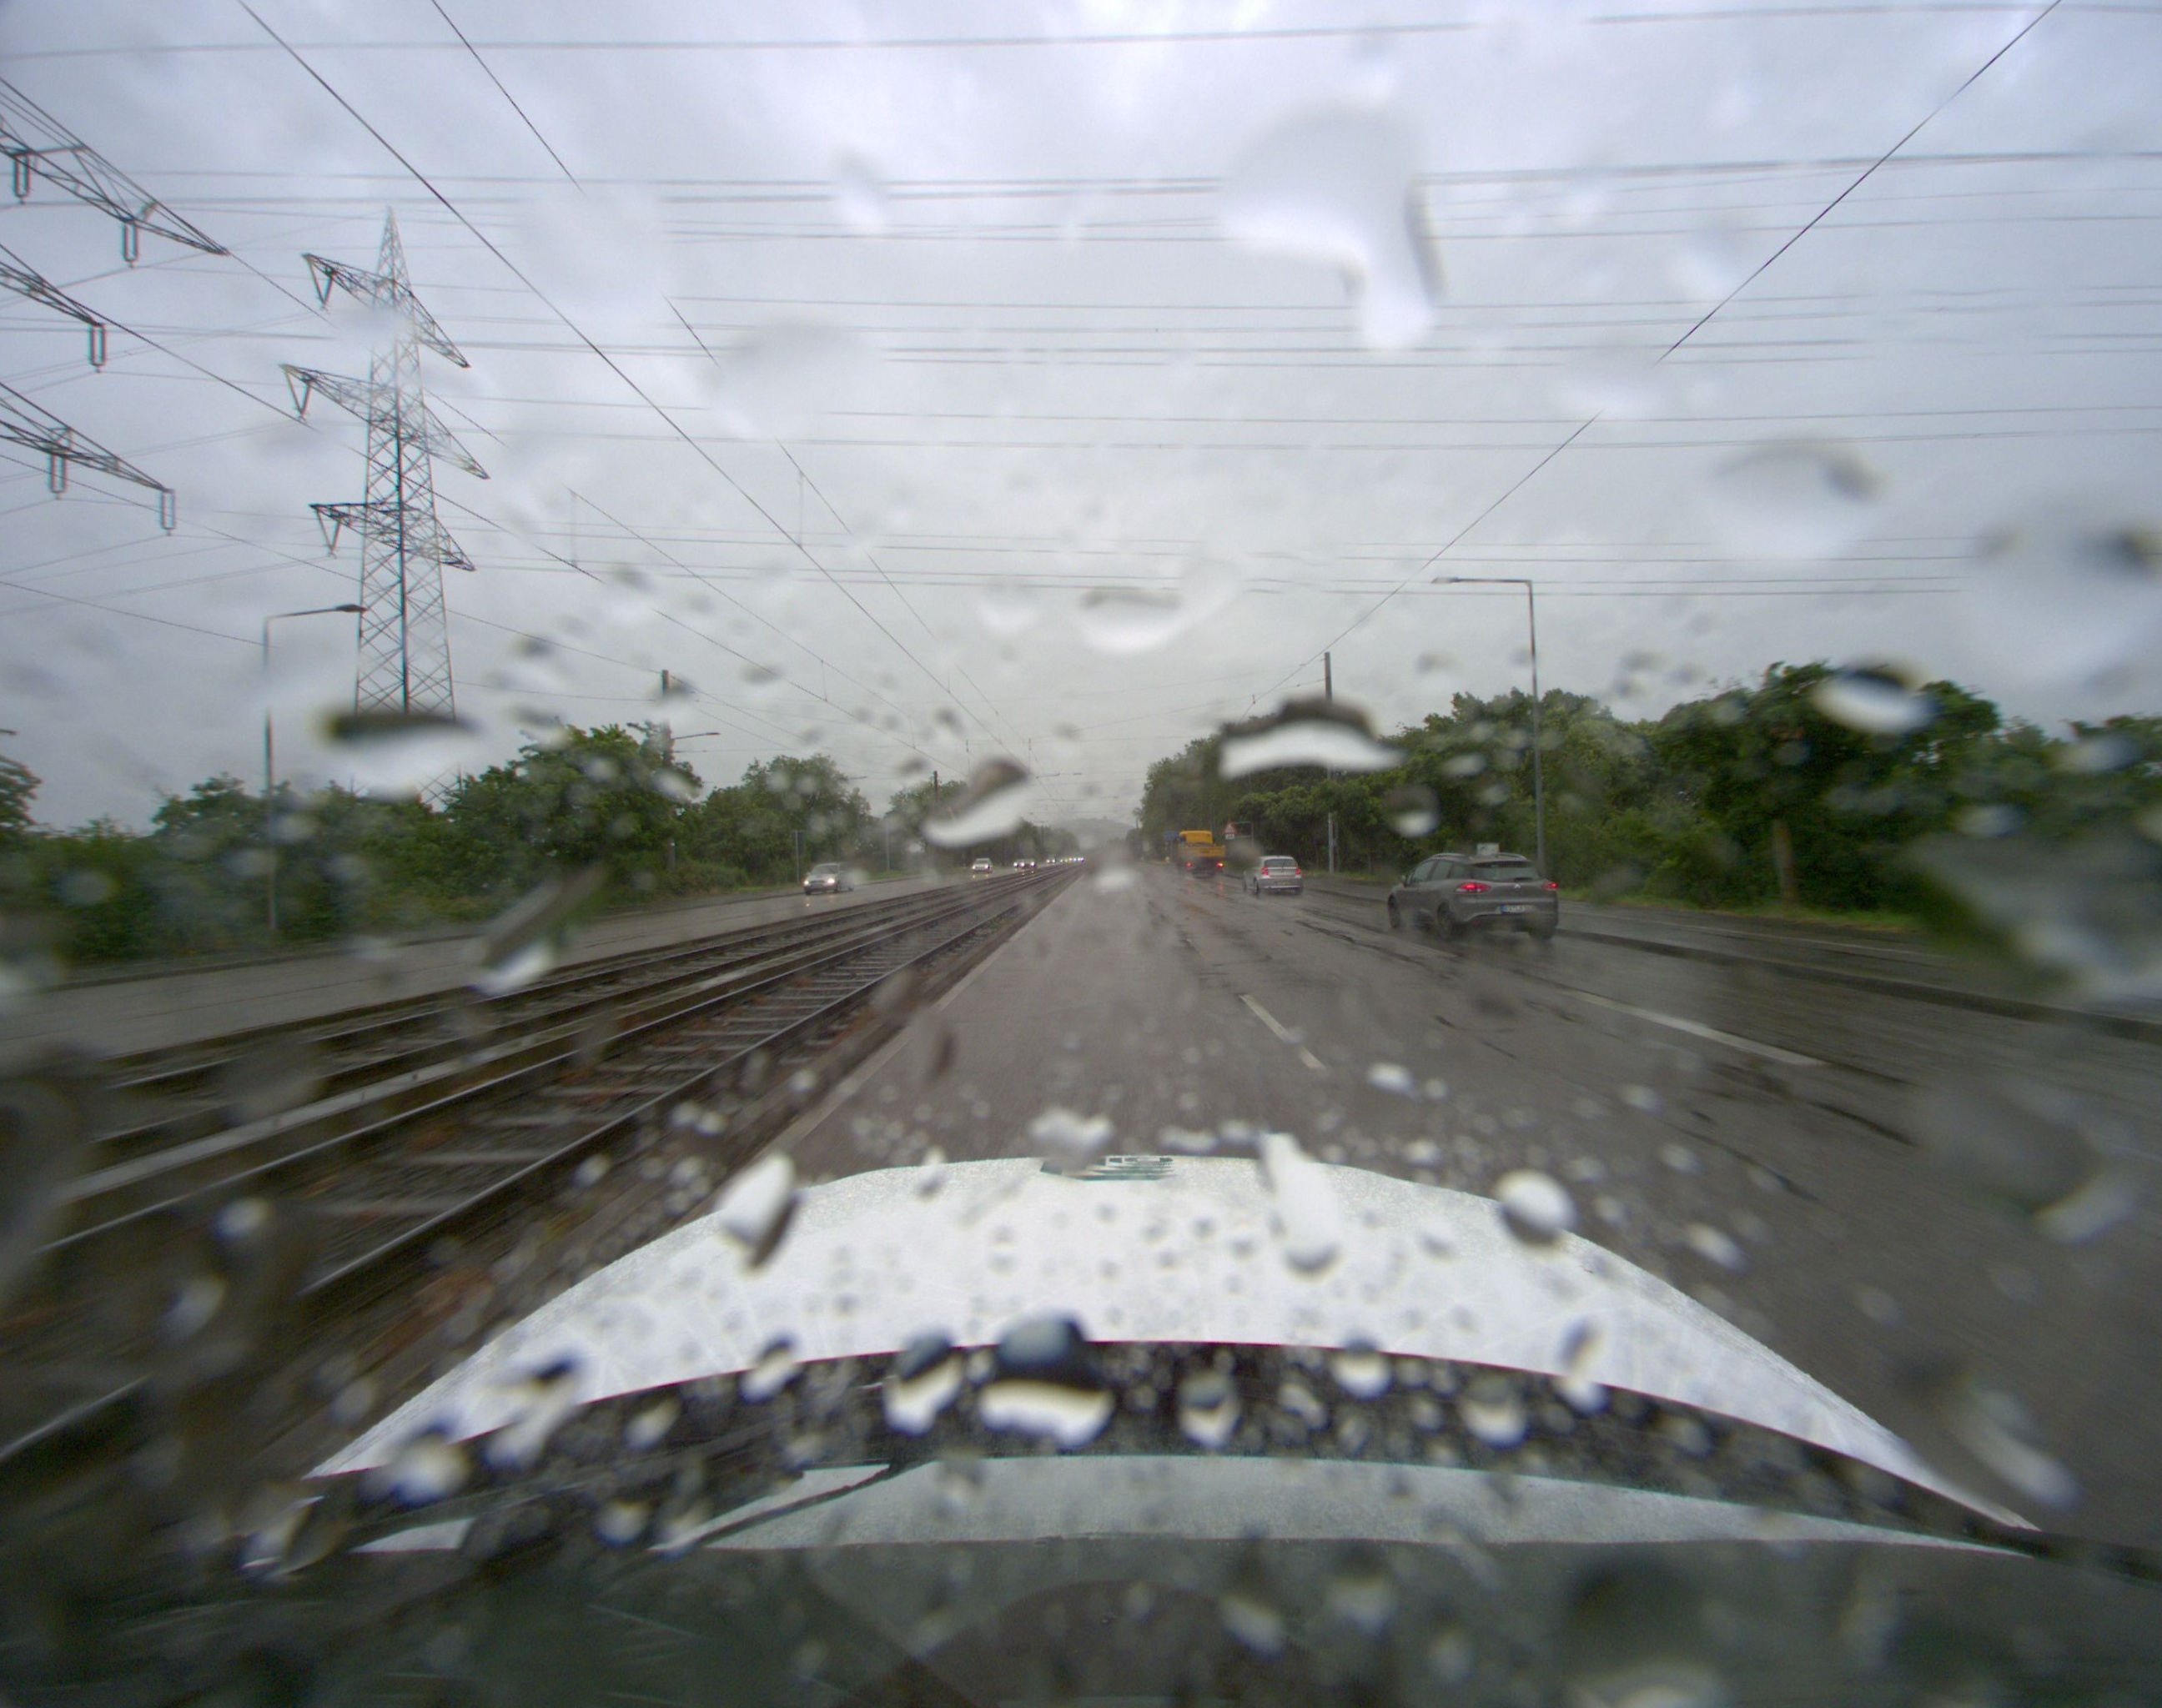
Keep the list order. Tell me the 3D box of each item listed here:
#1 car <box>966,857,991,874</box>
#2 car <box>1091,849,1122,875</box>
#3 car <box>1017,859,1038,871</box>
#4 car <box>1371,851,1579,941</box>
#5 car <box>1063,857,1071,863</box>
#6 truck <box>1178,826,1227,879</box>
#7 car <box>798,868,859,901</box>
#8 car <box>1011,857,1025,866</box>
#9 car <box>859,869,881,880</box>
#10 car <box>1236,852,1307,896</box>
[{"bbox_3d":[-10.719,1.197,85.107,1.836,1.574,5.068,0,1,1],"label":"car"},{"bbox_3d":[1.785,0.494,55.760,1.981,1.684,3.743,0,1,3],"label":"car"},{"bbox_3d":[-7.197,1.471,110.507,1.984,1.464,5.258,-4,0,5],"label":"car"},{"bbox_3d":[6.878,0.651,14.780,1.880,1.357,4.280,0,1,3],"label":"car"},{"bbox_3d":[-3.583,1.436,202.877,1.735,1.354,4.548,0,1,2],"label":"car"},{"bbox_3d":[7.868,-0.142,53.396,2.545,3.257,6.938,0,1,3],"label":"truck"},{"bbox_3d":[-14.646,1.725,47.568,1.818,1.635,5.138,0,1,1],"label":"car"},{"bbox_3d":[-10.139,1.239,131.651,1.751,1.362,5.073,0,1,2],"label":"car"},{"bbox_3d":[-37.479,3.654,144.635,1.857,1.686,4.594,-1,1,-42],"label":"car"},{"bbox_3d":[7.159,0.689,31.096,1.621,1.503,4.605,0,1,0],"label":"car"}]
